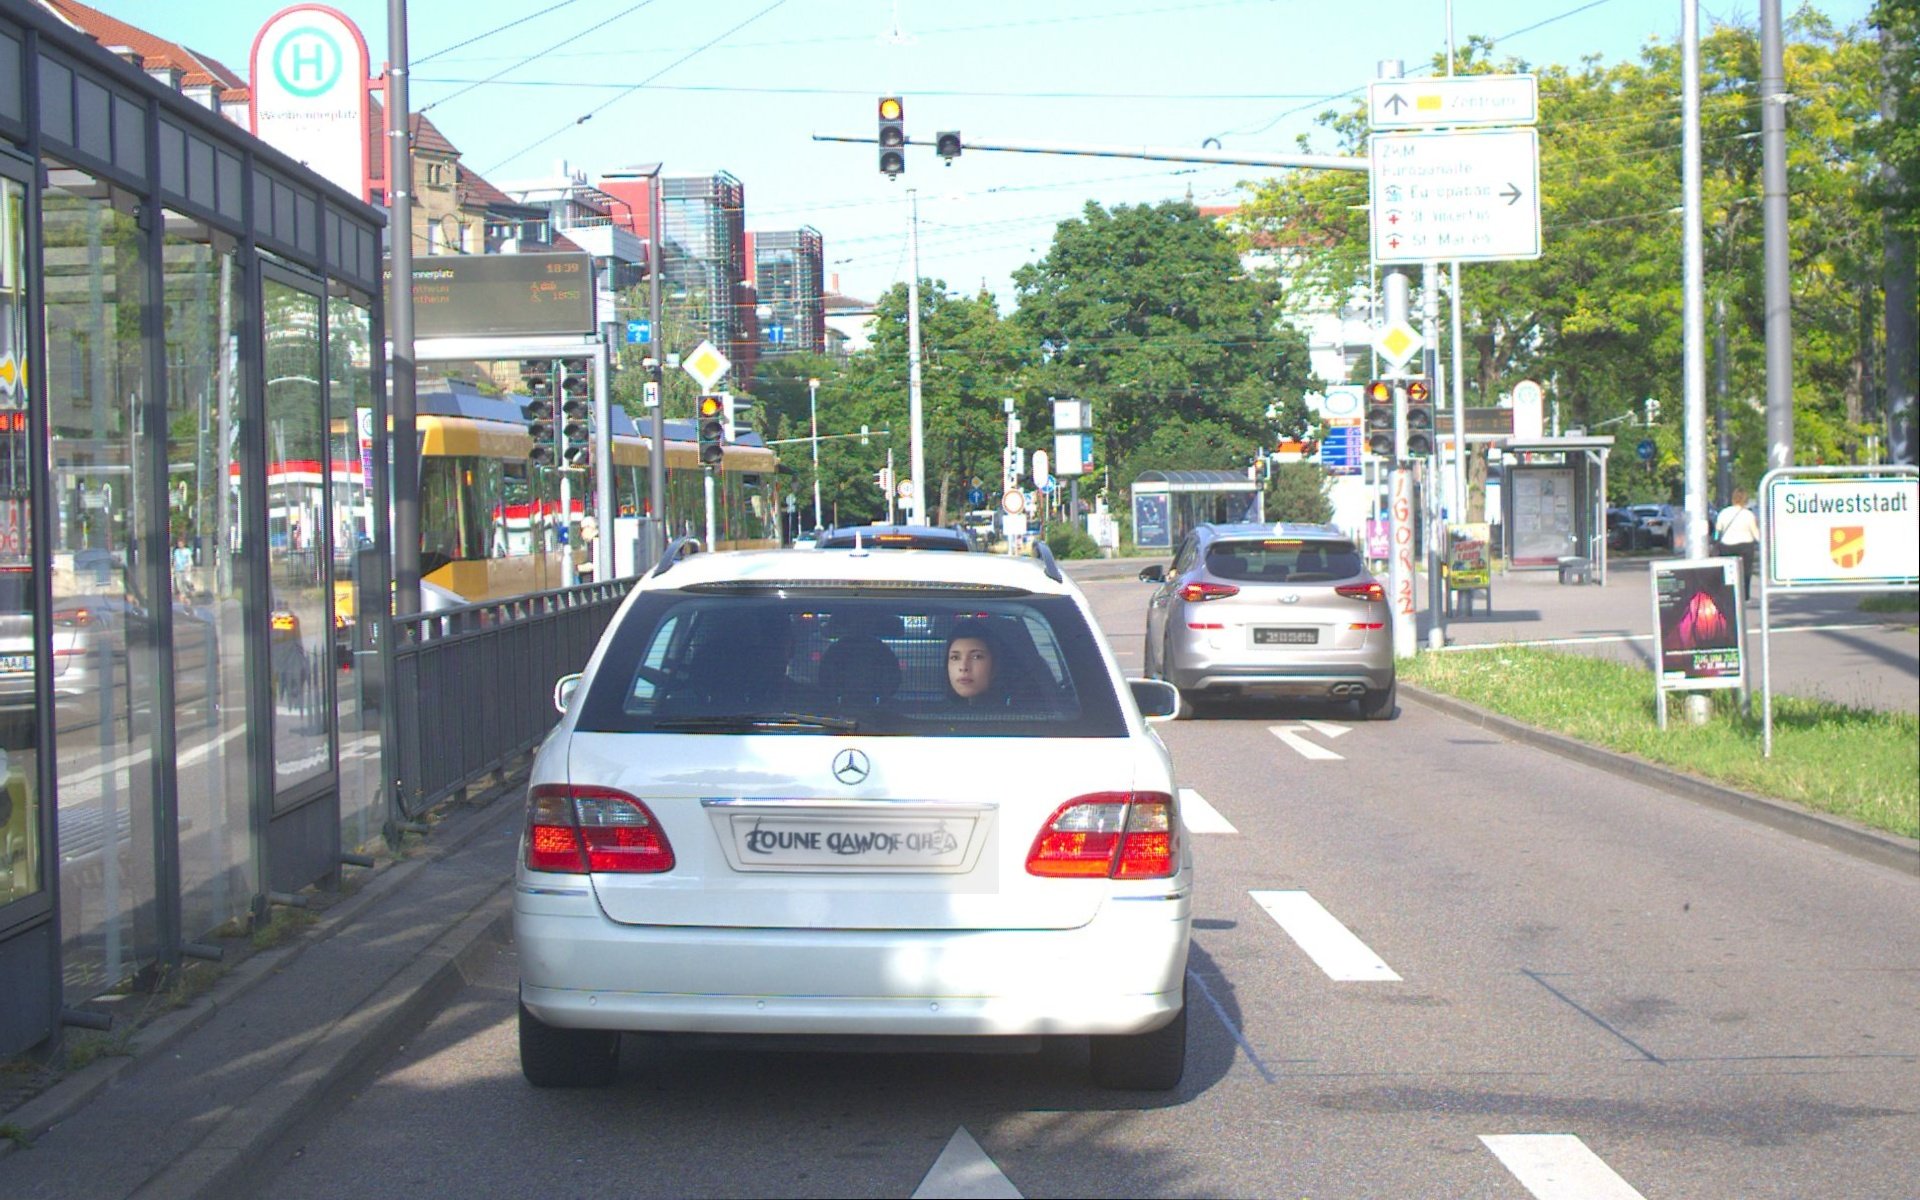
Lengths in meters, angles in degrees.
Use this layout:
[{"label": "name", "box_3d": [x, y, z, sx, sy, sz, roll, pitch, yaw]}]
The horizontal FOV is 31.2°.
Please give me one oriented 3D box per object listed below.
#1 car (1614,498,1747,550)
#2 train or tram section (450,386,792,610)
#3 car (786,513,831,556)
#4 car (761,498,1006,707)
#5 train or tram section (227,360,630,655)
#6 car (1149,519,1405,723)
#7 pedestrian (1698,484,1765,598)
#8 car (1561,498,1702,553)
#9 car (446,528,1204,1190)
[{"label": "car", "box_3d": [24.278, -2.572, 115.823, 3.986, 1.645, 2.000, -2, 1, -27]}, {"label": "train or tram section", "box_3d": [-5.612, -1.777, 60.180, 2.850, 3.467, 13.196, 0, 2, 8]}, {"label": "car", "box_3d": [-7.289, -3.156, 165.580, 1.993, 2.007, 4.000, -1, 1, -1]}, {"label": "car", "box_3d": [-0.593, -0.035, 29.844, 1.787, 1.684, 4.000, 0, 2, 4]}, {"label": "train or tram section", "box_3d": [-6.912, -1.305, 47.155, 2.850, 3.467, 13.199, 0, 2, 3]}, {"label": "car", "box_3d": [2.647, 0.122, 29.433, 2.033, 1.600, 4.000, 0, 2, 3]}, {"label": "pedestrian", "box_3d": [11.214, -0.862, 49.994, 0.886, 1.646, 0.746, 0, 1, 8]}, {"label": "car", "box_3d": [21.222, -2.346, 108.644, 3.992, 1.645, 1.997, -1, 1, 25]}, {"label": "car", "box_3d": [-0.298, 0.575, 10.157, 1.758, 1.498, 4.000, -2, 2, 1]}]
